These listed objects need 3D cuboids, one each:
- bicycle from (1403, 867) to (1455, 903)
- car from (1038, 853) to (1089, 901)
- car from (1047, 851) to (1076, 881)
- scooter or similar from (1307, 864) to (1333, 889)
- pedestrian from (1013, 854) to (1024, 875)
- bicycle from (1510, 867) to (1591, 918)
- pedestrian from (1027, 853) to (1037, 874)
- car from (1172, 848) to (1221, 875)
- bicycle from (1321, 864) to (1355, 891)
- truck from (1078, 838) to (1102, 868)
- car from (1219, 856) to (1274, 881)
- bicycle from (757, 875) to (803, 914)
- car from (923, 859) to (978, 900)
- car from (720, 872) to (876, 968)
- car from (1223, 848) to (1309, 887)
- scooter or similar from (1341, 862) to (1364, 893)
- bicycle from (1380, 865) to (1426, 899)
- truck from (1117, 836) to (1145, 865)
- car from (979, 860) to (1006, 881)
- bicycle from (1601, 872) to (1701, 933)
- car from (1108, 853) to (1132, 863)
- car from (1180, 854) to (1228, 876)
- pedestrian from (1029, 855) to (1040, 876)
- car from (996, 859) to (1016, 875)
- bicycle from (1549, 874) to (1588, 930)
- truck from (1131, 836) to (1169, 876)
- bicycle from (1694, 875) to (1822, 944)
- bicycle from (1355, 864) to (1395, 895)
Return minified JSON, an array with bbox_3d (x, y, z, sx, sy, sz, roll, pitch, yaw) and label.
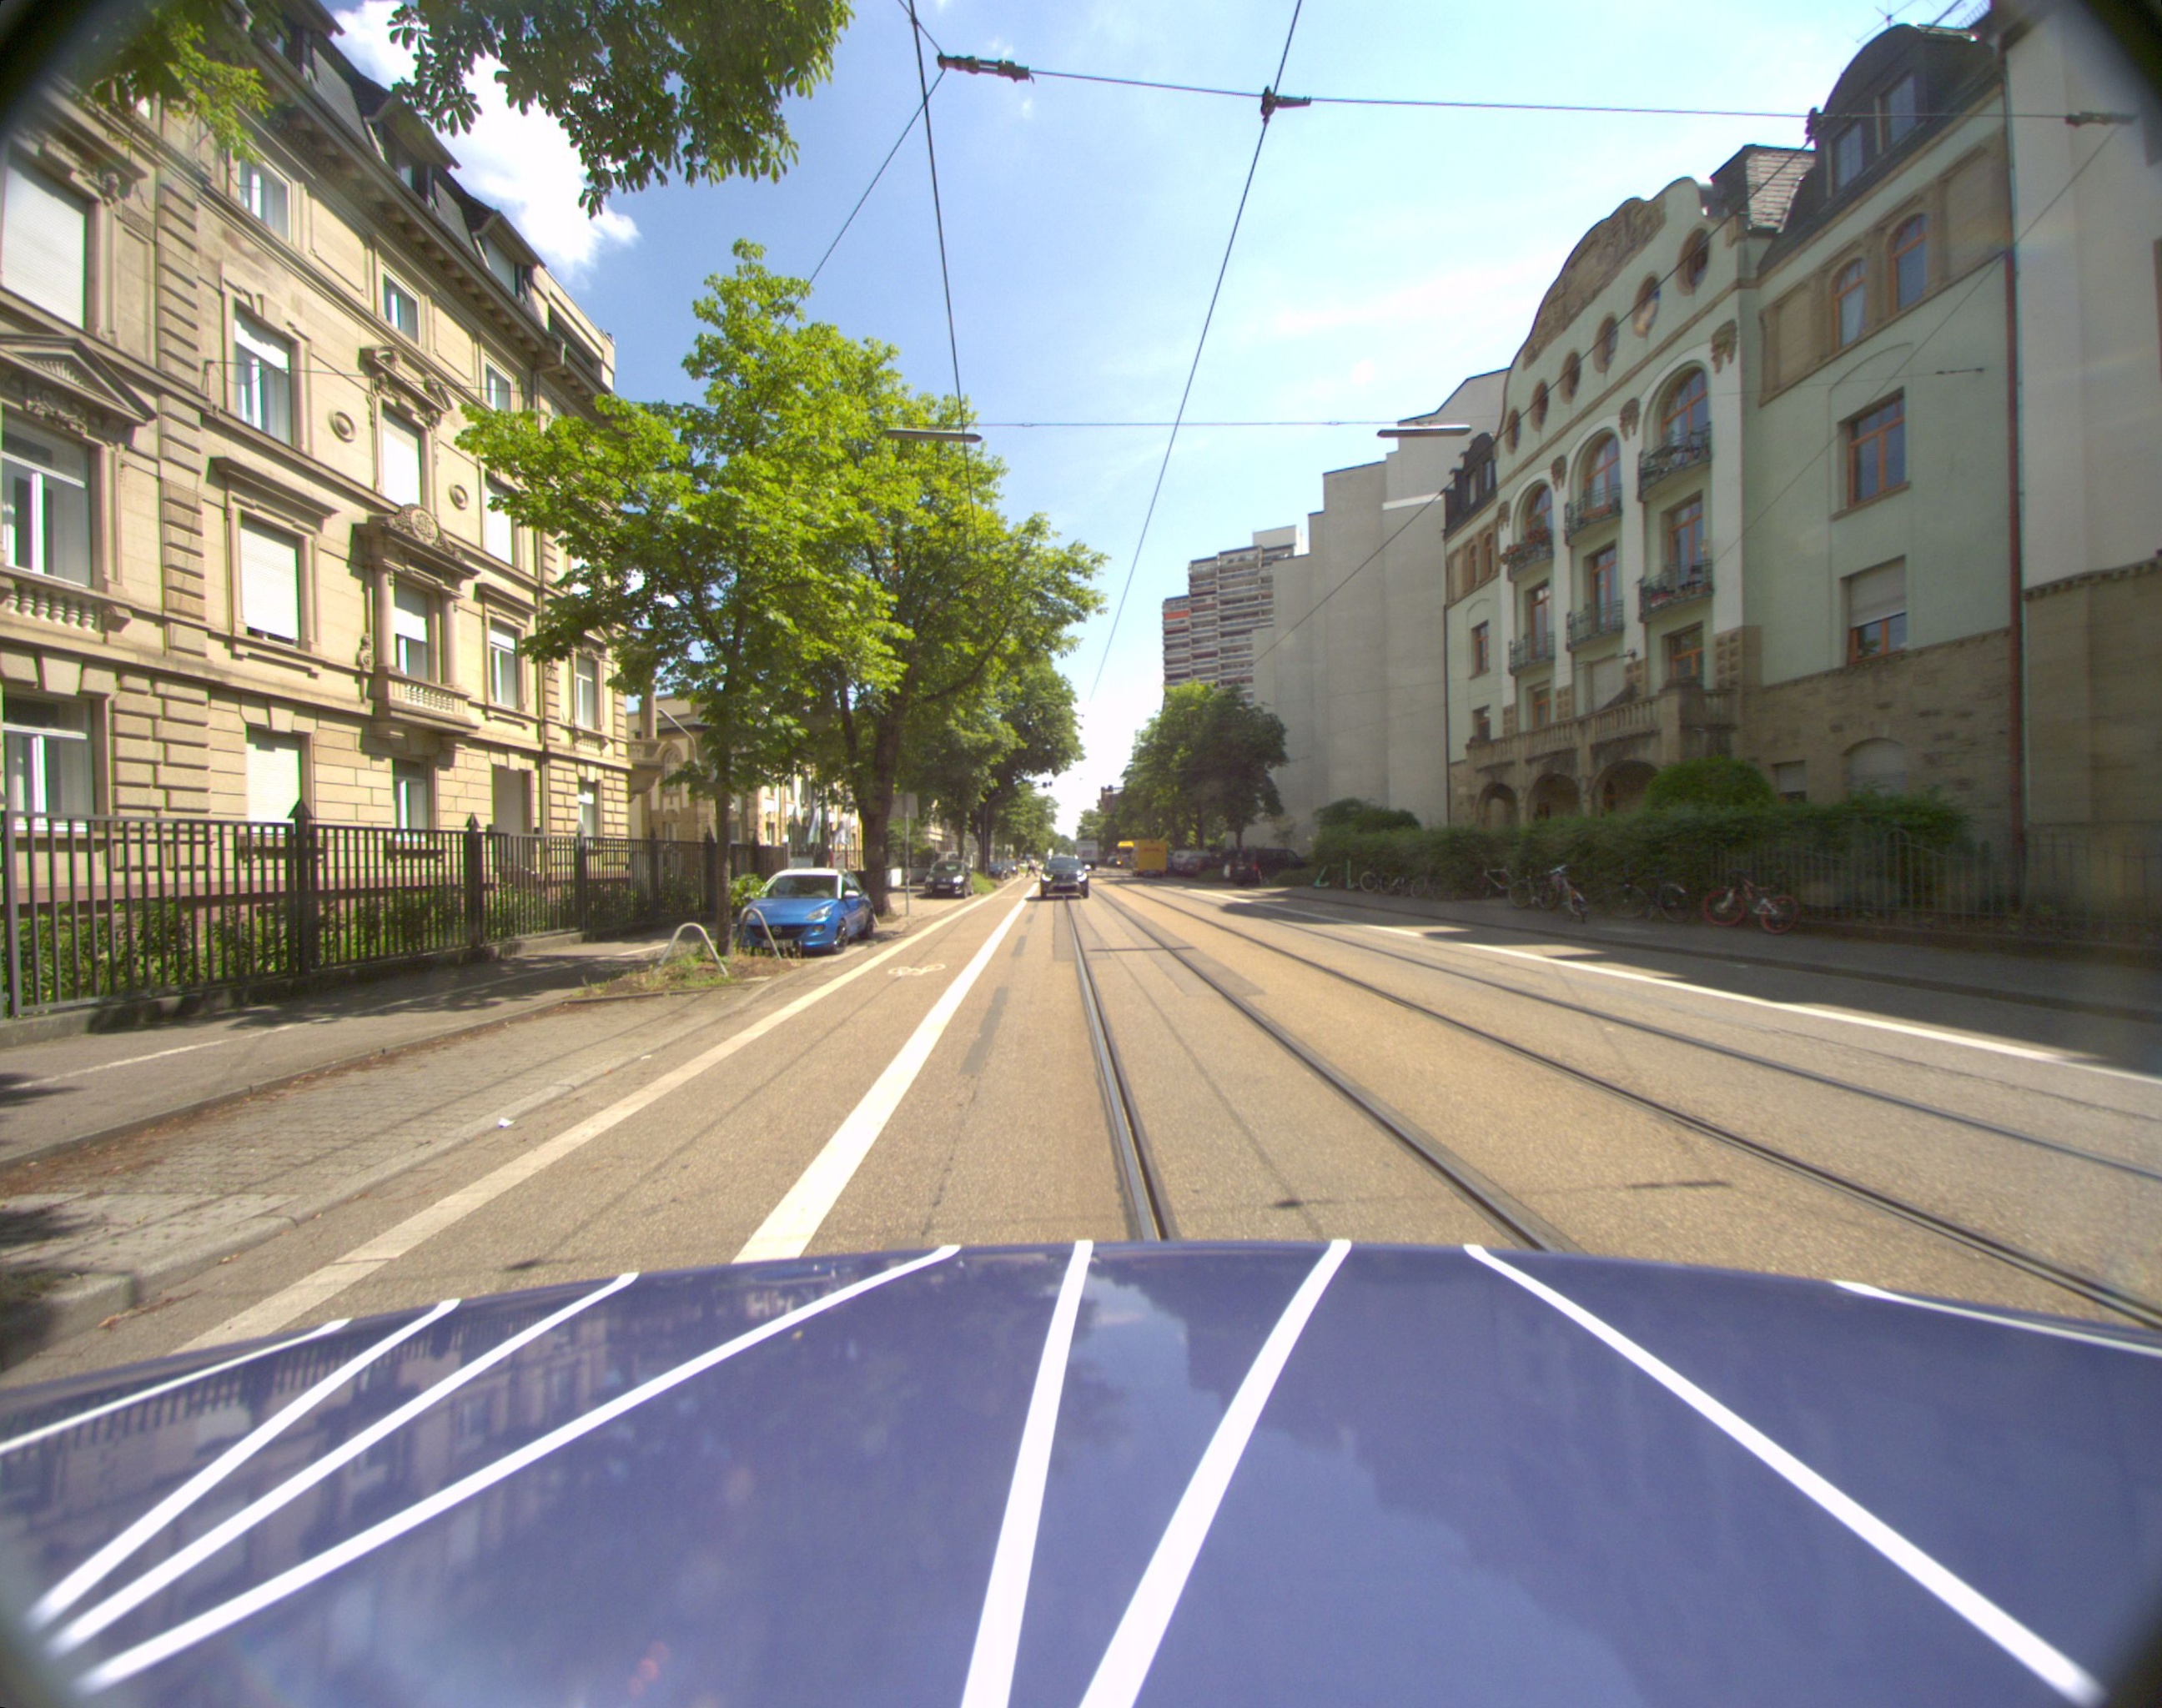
[{"bbox_3d":[10.301,0.897,22.569,0.609,0.970,1.771,-5,0,-2],"label":"bicycle"},{"bbox_3d":[-0.684,0.841,29.361,1.753,1.641,4.297,-3,0,-2],"label":"car"},{"bbox_3d":[-1.322,0.778,51.487,1.753,1.806,4.307,-4,0,-1],"label":"car"},{"bbox_3d":[10.021,0.937,31.885,0.407,1.014,1.222,-1,0,-17],"label":"scooter or similar"},{"bbox_3d":[-5.357,0.919,65.549,0.645,1.839,0.741,-1,1,25],"label":"pedestrian"},{"bbox_3d":[10.640,0.845,17.299,0.609,1.026,1.771,-5,0,-2],"label":"bicycle"},{"bbox_3d":[-4.190,0.818,65.076,0.645,1.839,0.741,-1,0,16],"label":"pedestrian"},{"bbox_3d":[9.063,0.579,59.382,4.061,2.030,1.598,-1,0,-42],"label":"car"},{"bbox_3d":[10.156,0.924,30.065,0.609,0.983,1.707,-5,0,-2],"label":"bicycle"},{"bbox_3d":[1.015,-0.120,94.708,2.792,3.598,8.255,-1,0,0],"label":"truck"},{"bbox_3d":[10.128,0.865,46.355,1.721,1.445,3.635,-1,0,42],"label":"car"},{"bbox_3d":[-9.108,1.212,23.068,0.609,1.065,1.980,-1,0,0],"label":"bicycle"},{"bbox_3d":[-5.592,1.058,32.985,1.734,1.606,4.083,1,0,-2],"label":"car"},{"bbox_3d":[-5.039,1.109,14.022,1.695,1.444,3.473,-1,0,-3],"label":"car"},{"bbox_3d":[9.710,0.650,39.658,4.595,1.914,1.957,-1,0,-39],"label":"car"},{"bbox_3d":[10.154,0.855,28.438,0.407,1.113,1.291,-1,0,0],"label":"scooter or similar"},{"bbox_3d":[10.334,0.887,24.433,0.609,0.983,1.707,-5,0,-2],"label":"bicycle"},{"bbox_3d":[7.599,-0.450,114.733,2.672,4.155,10.482,-1,0,12],"label":"truck"},{"bbox_3d":[-6.375,1.166,54.886,1.626,1.395,3.822,1,0,-2],"label":"car"},{"bbox_3d":[10.531,0.863,14.118,0.465,0.993,1.707,-4,0,-2],"label":"bicycle"},{"bbox_3d":[7.407,0.778,144.802,4.338,1.797,1.995,-1,0,-34],"label":"car"},{"bbox_3d":[9.065,0.785,55.875,3.692,1.566,1.678,-1,1,-44],"label":"car"},{"bbox_3d":[-4.065,1.019,66.364,0.741,1.839,0.644,-1,1,-42],"label":"pedestrian"},{"bbox_3d":[-7.217,1.213,73.228,1.626,1.395,3.999,1,0,-2],"label":"car"},{"bbox_3d":[9.713,0.922,15.114,0.608,0.993,1.778,-1,0,34],"label":"bicycle"},{"bbox_3d":[5.360,0.155,59.987,2.307,2.903,6.515,-1,0,-1],"label":"truck"},{"bbox_3d":[10.786,0.852,12.190,0.414,0.960,1.725,-4,0,-2],"label":"bicycle"},{"bbox_3d":[10.303,0.888,26.654,0.609,0.983,1.707,-5,0,-2],"label":"bicycle"}]
